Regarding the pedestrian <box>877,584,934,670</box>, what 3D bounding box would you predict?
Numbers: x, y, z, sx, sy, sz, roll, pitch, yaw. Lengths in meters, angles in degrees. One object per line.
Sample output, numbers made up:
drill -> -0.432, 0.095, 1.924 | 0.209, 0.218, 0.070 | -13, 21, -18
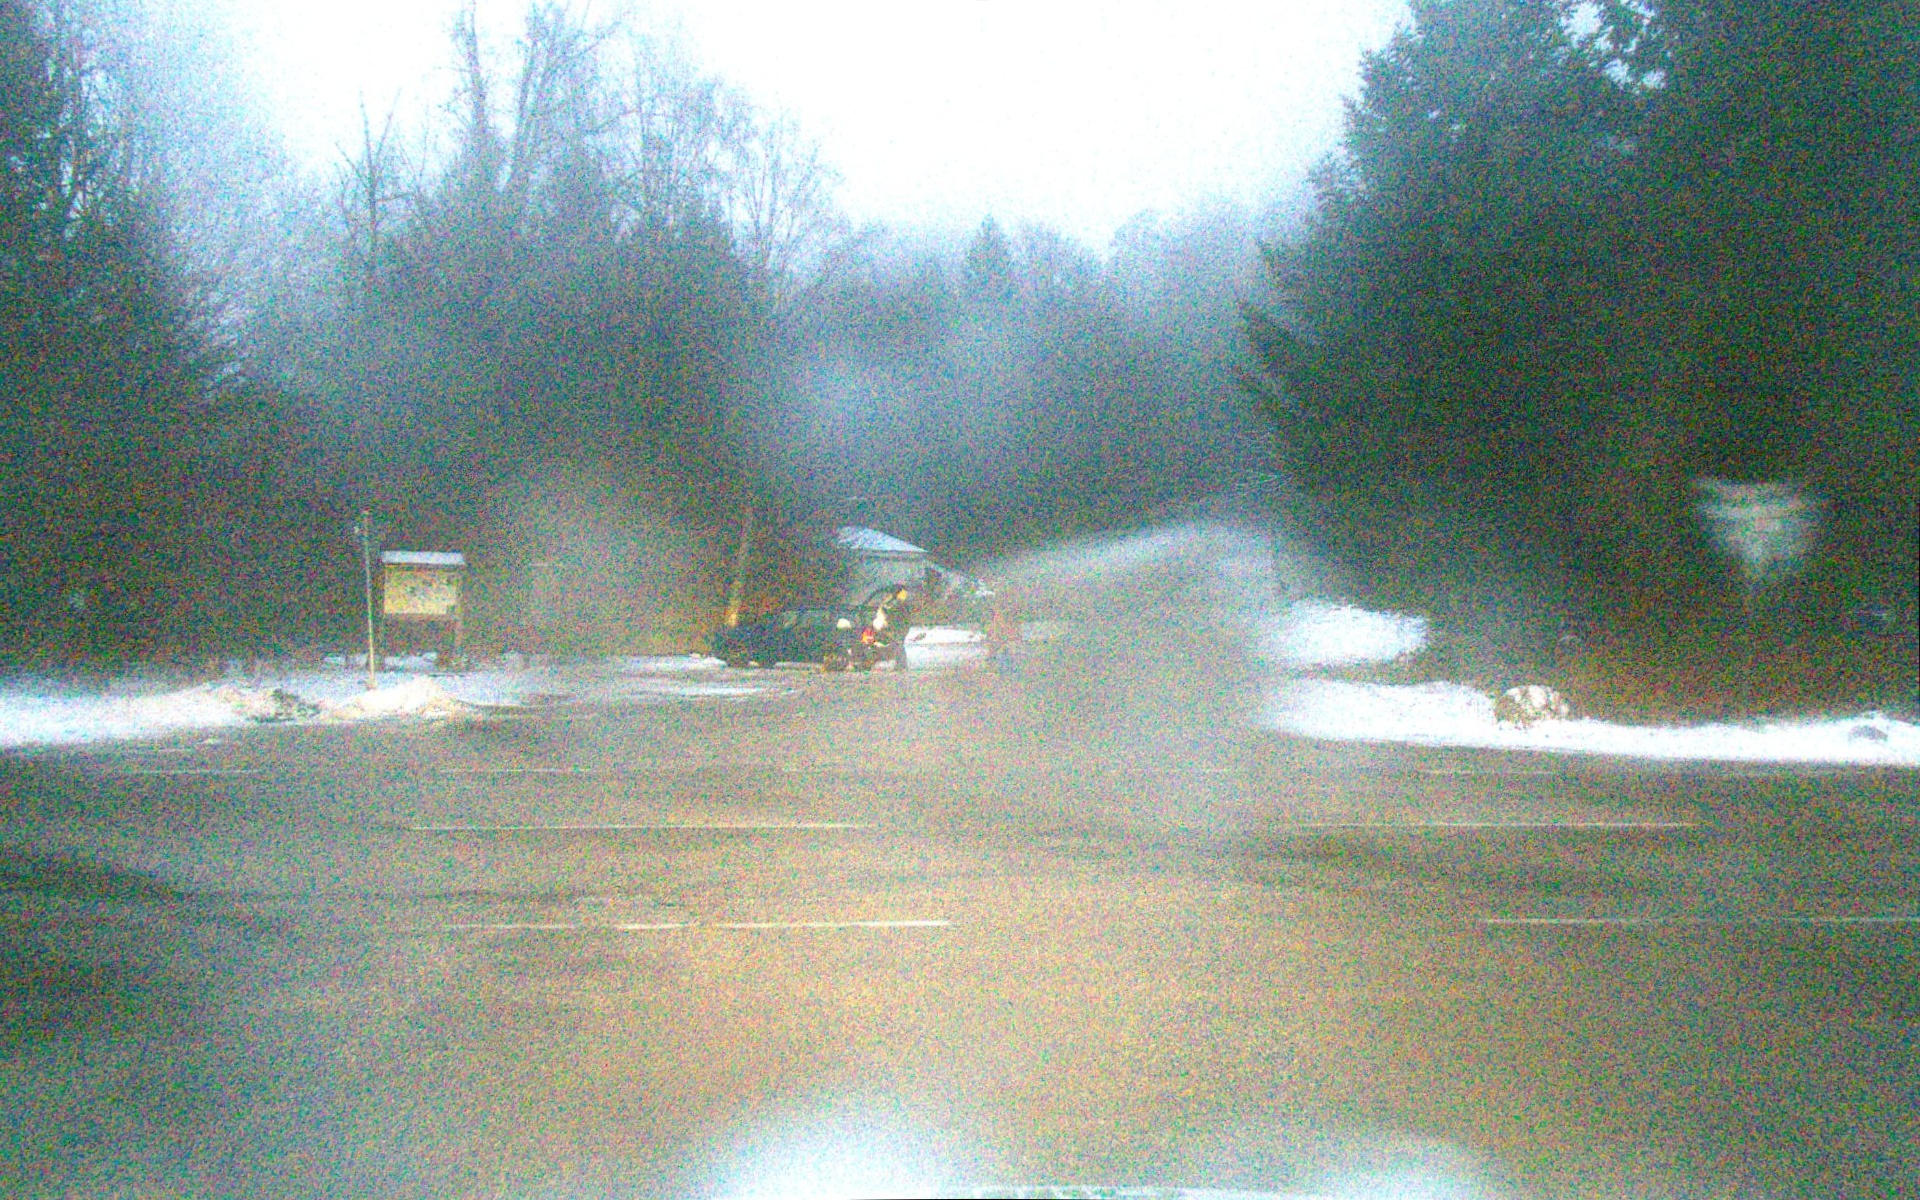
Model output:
pedestrian -> -1.204, 0.601, 36.451 | 0.941, 1.860, 0.925 | 1, -2, 20

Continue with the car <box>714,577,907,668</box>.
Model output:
car -> -3.376, 0.507, 37.570 | 3.863, 1.914, 2.001 | 1, -1, 16
